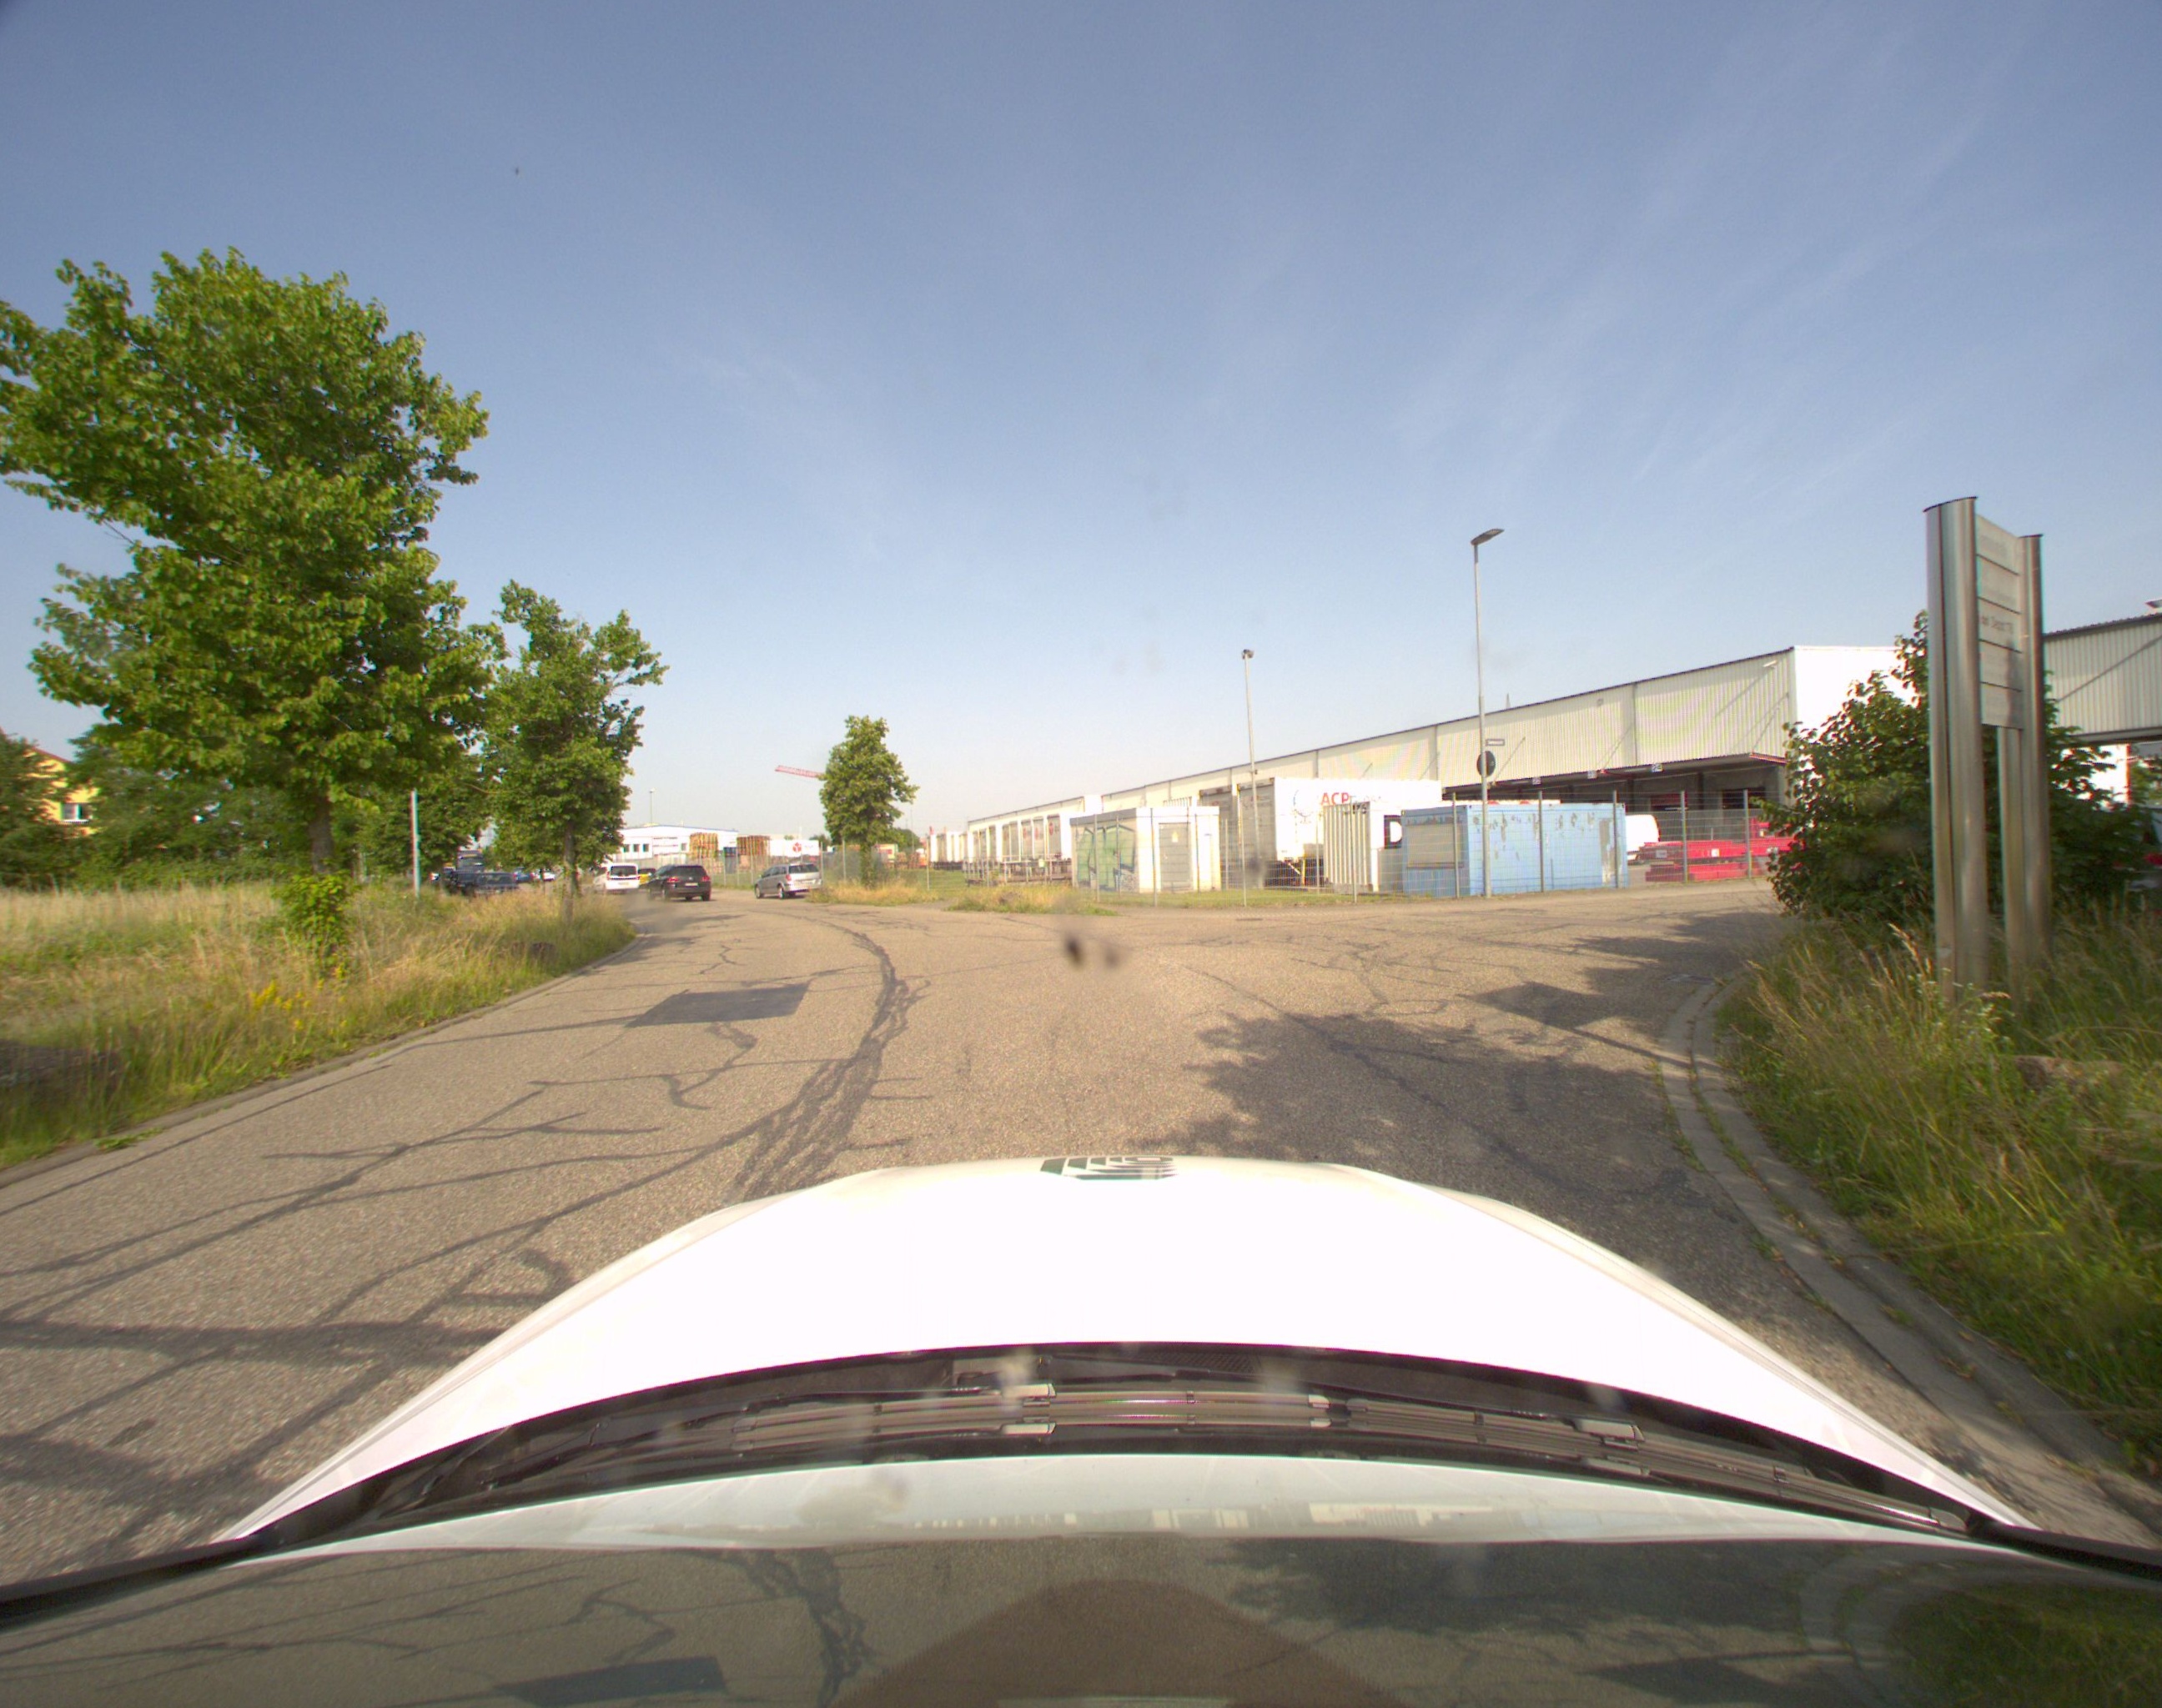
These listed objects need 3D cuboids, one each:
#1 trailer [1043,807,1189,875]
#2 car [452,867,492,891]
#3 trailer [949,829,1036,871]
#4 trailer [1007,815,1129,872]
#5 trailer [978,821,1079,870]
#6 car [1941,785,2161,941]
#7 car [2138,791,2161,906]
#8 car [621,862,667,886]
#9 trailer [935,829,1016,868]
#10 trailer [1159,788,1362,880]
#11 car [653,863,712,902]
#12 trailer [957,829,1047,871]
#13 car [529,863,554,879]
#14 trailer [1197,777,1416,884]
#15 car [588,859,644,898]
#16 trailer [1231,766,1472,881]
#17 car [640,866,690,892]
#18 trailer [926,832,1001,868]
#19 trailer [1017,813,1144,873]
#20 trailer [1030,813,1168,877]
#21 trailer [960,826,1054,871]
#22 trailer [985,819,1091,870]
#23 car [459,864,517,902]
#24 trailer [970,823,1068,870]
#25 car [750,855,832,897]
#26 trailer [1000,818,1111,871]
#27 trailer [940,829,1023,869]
[{"bbox_3d":[2.178,-0.753,49.824,8.571,3.893,2.755,0,0,-23],"label":"trailer"},{"bbox_3d":[-38.922,1.577,52.032,1.848,1.496,4.001,0,-1,-40],"label":"car"},{"bbox_3d":[-8.651,-0.384,79.591,7.995,3.893,2.755,0,0,-23],"label":"trailer"},{"bbox_3d":[-0.895,-0.737,58.427,8.341,3.893,2.755,0,0,-23],"label":"trailer"},{"bbox_3d":[-4.366,-0.676,67.691,7.995,3.893,2.755,0,0,-23],"label":"trailer"},{"bbox_3d":[12.207,0.061,9.292,3.960,1.524,1.717,-2,-2,-19],"label":"car"},{"bbox_3d":[17.627,-0.187,11.608,4.269,1.626,1.865,-2,-2,-20],"label":"car"},{"bbox_3d":[-29.670,1.325,55.264,1.730,1.455,4.136,-5,2,-42],"label":"car"},{"bbox_3d":[-11.073,-0.577,85.446,7.995,3.893,2.755,0,0,-23],"label":"trailer"},{"bbox_3d":[8.042,-0.913,36.267,8.767,3.761,2.770,-1,0,-22],"label":"trailer"},{"bbox_3d":[-18.046,1.259,36.788,1.894,1.586,4.070,-2,0,-33],"label":"car"},{"bbox_3d":[-7.428,-0.382,76.735,7.995,3.893,2.755,0,0,-23],"label":"trailer"},{"bbox_3d":[-59.273,1.869,89.396,1.730,1.680,3.902,-2,0,-42],"label":"car"},{"bbox_3d":[9.286,-1.019,33.412,8.567,3.893,2.756,-3,0,-21],"label":"trailer"},{"bbox_3d":[-27.715,1.462,48.449,2.139,2.110,4.571,-2,0,-39],"label":"car"},{"bbox_3d":[10.169,-1.130,30.558,8.565,3.894,2.757,-2,-2,-20],"label":"trailer"},{"bbox_3d":[-26.422,1.574,51.728,1.730,1.515,3.955,-5,2,-43],"label":"car"},{"bbox_3d":[-13.131,-0.464,90.996,7.995,3.893,2.722,0,0,-23],"label":"trailer"},{"bbox_3d":[-0.009,-0.705,55.502,8.341,3.893,2.755,0,0,-23],"label":"trailer"},{"bbox_3d":[1.196,-0.554,52.753,8.571,3.893,2.755,0,0,-23],"label":"trailer"},{"bbox_3d":[-6.659,-0.498,73.453,7.995,3.893,2.755,0,0,-23],"label":"trailer"},{"bbox_3d":[-3.382,-0.719,64.855,7.995,3.893,2.755,0,0,-23],"label":"trailer"},{"bbox_3d":[-27.723,1.313,38.029,1.919,1.626,4.397,0,-1,-40],"label":"car"},{"bbox_3d":[-5.346,-0.653,70.585,7.995,3.893,2.755,0,0,-23],"label":"trailer"},{"bbox_3d":[-12.746,0.949,35.698,1.815,1.625,4.396,-5,2,-41],"label":"car"},{"bbox_3d":[-1.943,-0.719,62.246,8.066,3.893,2.755,0,0,-23],"label":"trailer"},{"bbox_3d":[-10.062,-0.528,82.632,7.995,3.893,2.755,0,0,-23],"label":"trailer"}]
